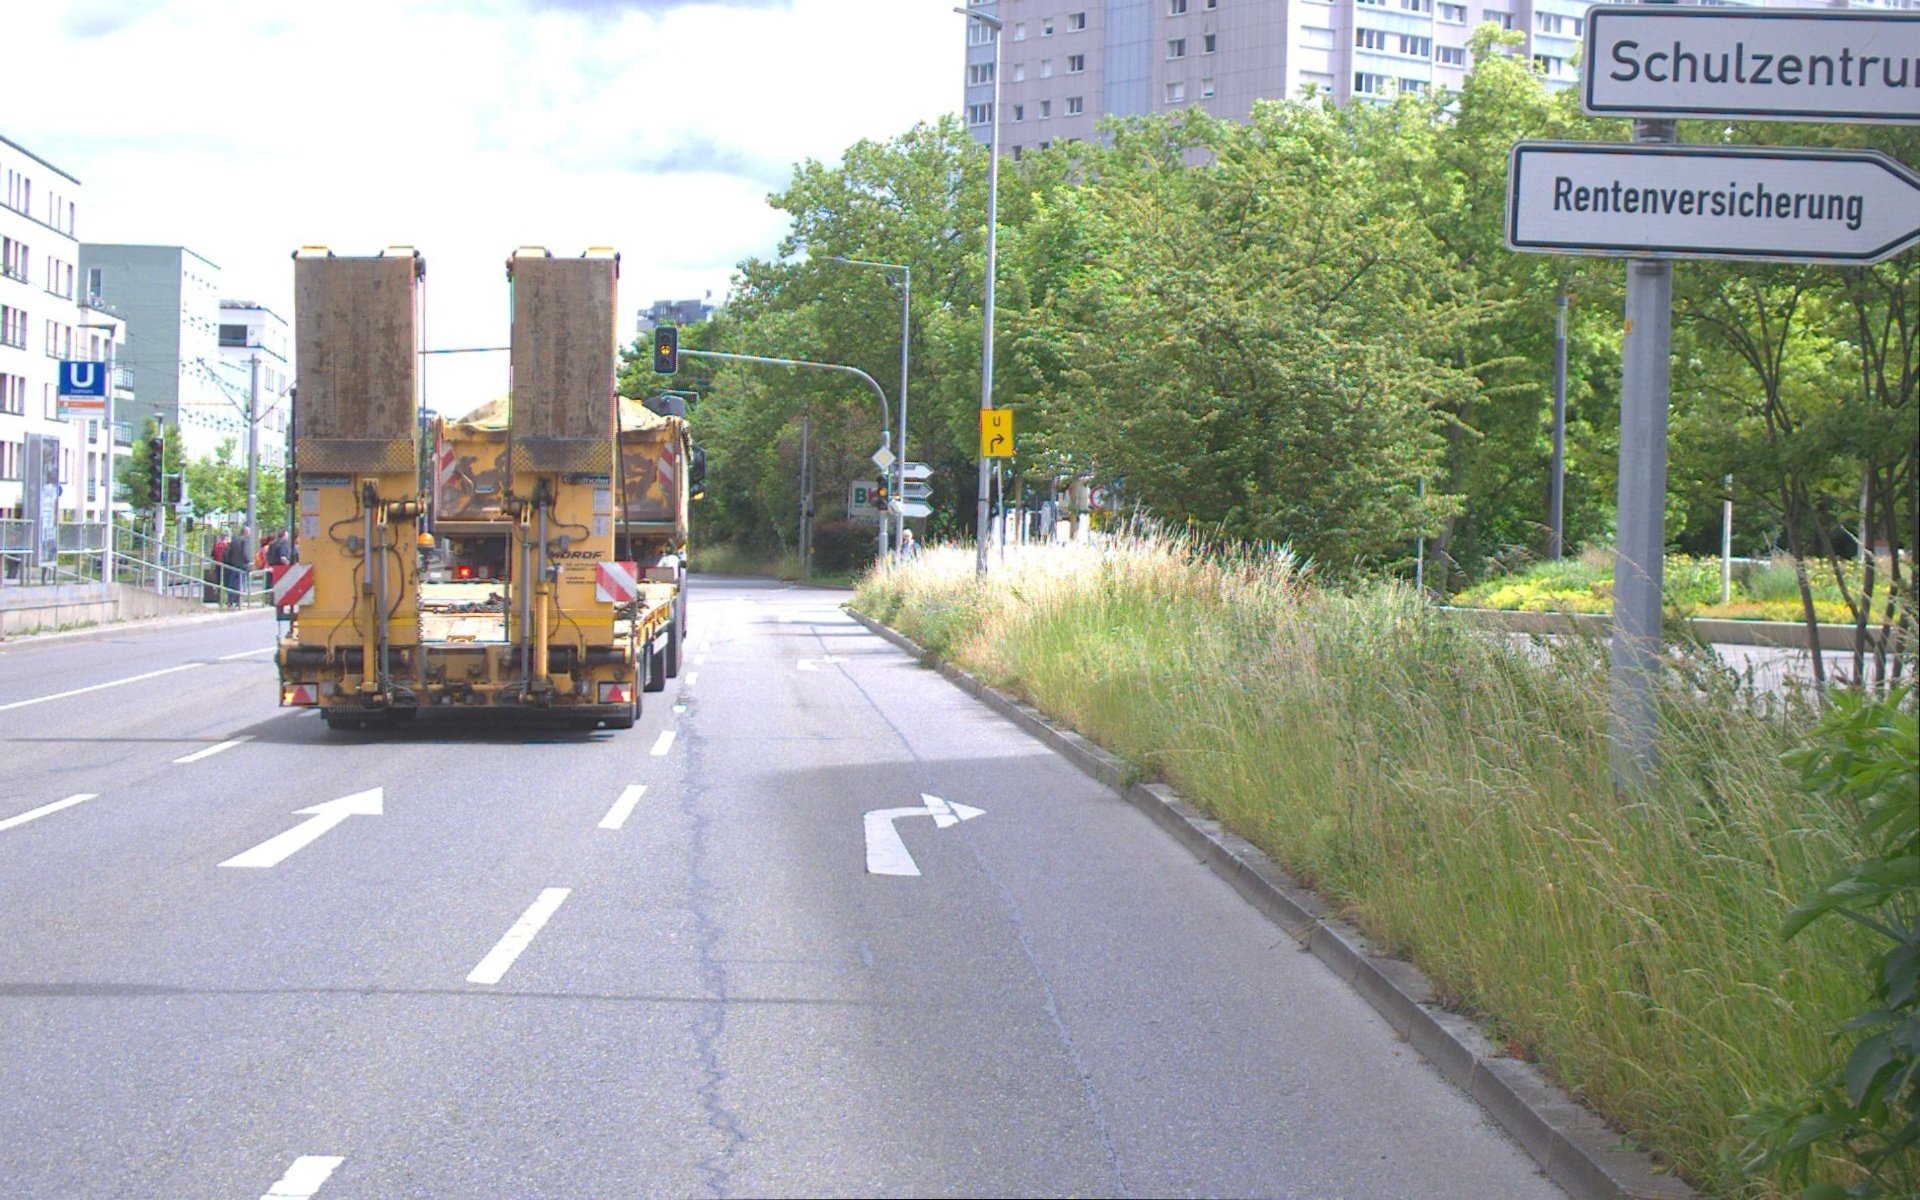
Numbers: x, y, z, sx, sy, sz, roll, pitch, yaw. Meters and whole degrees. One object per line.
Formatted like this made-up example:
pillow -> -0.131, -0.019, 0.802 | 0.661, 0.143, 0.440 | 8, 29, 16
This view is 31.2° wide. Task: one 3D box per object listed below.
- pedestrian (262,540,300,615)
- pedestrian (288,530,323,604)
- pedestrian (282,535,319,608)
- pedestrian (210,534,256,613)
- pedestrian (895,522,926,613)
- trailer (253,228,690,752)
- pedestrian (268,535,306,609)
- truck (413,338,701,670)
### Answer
pedestrian -> -14.683, -0.485, 74.342 | 0.681, 1.597, 0.823 | 1, 1, -4
pedestrian -> -14.880, -0.749, 78.143 | 0.681, 1.664, 0.823 | 1, 1, -4
pedestrian -> -14.758, -0.640, 76.908 | 0.681, 1.597, 0.823 | 1, 1, -4
pedestrian -> -15.452, -0.561, 73.129 | 0.820, 1.663, 0.683 | 1, 1, -2
pedestrian -> -1.120, -0.725, 77.126 | 0.561, 2.007, 0.492 | 1, 0, -12
trailer -> -3.809, -0.843, 29.344 | 2.729, 3.546, 11.255 | 1, 1, -4
pedestrian -> -14.705, -0.618, 75.154 | 0.681, 1.597, 0.823 | 1, 1, -4
truck -> -4.410, -1.034, 39.119 | 2.753, 3.302, 8.353 | 1, 1, -4
